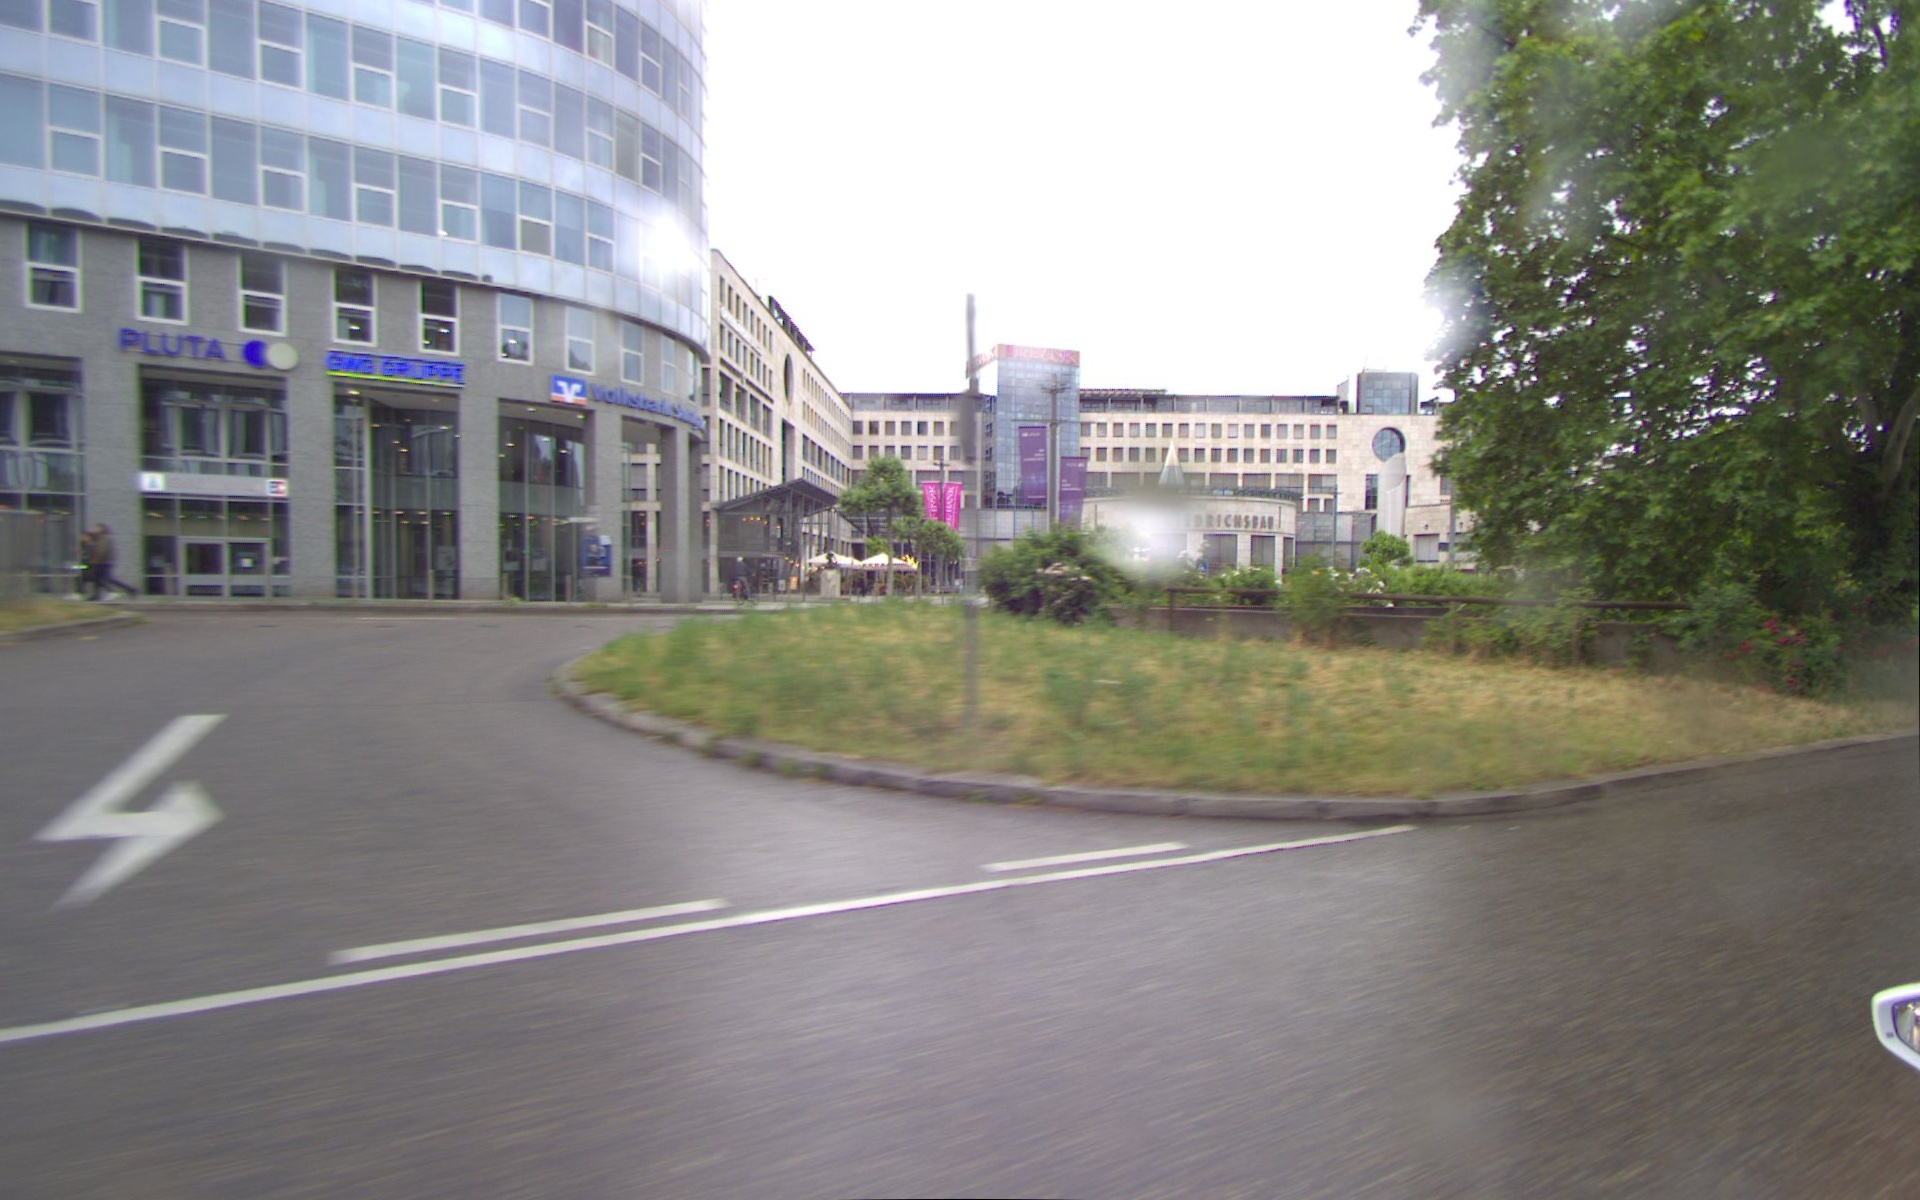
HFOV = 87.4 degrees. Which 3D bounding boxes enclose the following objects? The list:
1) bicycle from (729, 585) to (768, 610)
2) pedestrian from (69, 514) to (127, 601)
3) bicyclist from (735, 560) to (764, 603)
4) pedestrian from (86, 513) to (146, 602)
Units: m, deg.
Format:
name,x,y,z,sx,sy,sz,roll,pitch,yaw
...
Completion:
name,x,y,z,sx,sy,sz,roll,pitch,yaw
bicycle,-8.931,-0.093,42.475,0.732,1.020,1.934,1,1,19
pedestrian,-21.037,-1.019,24.519,1.028,2.040,0.841,1,1,-43
bicyclist,-8.895,-0.786,42.512,0.724,1.764,1.041,1,1,19
pedestrian,-20.161,-0.993,24.005,1.028,2.040,1.042,1,1,-43
